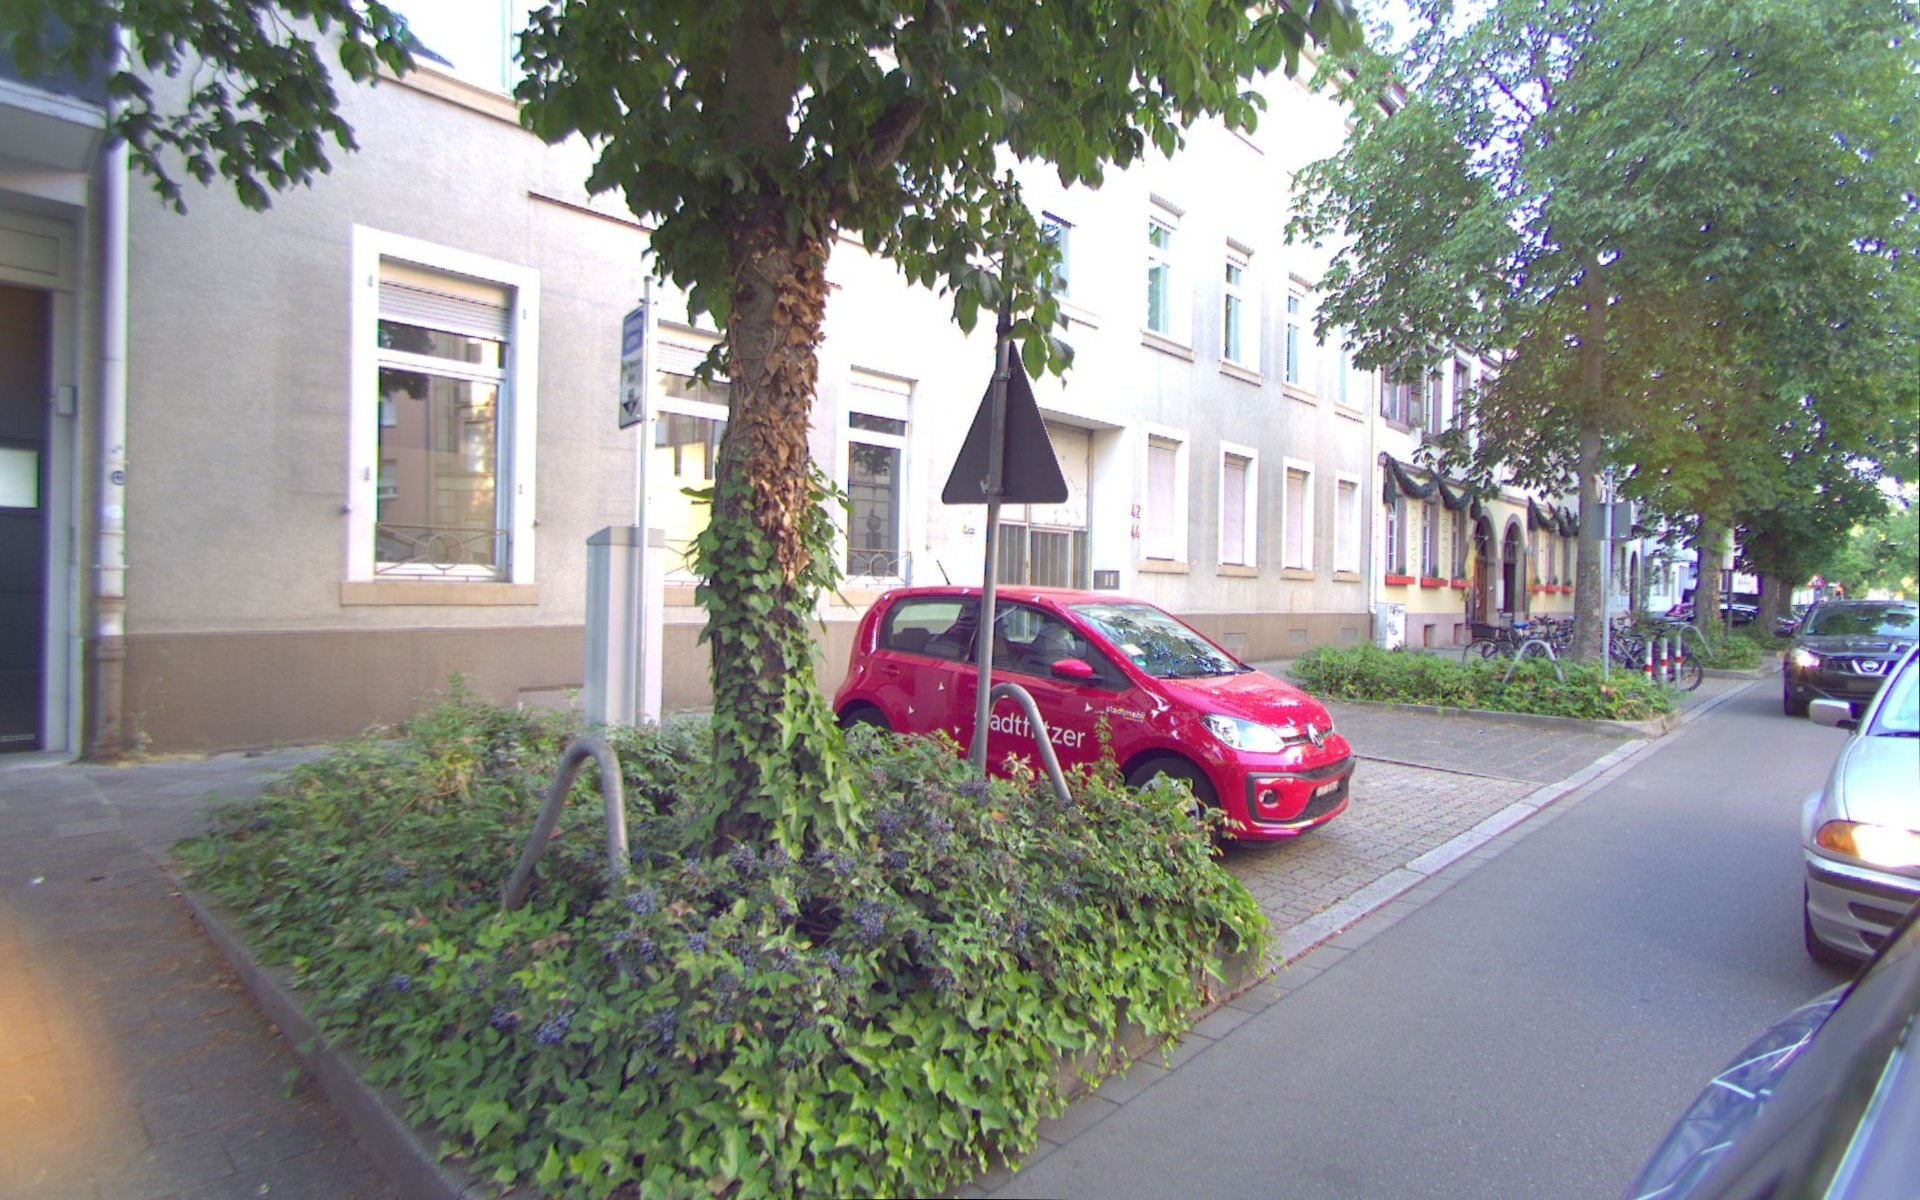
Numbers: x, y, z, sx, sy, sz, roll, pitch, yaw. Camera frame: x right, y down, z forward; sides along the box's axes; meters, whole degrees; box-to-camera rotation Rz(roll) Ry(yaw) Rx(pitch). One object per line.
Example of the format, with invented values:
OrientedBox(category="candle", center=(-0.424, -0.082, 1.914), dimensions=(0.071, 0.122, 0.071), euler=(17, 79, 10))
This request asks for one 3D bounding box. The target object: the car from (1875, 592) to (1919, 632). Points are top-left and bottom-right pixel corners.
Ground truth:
OrientedBox(category="car", center=(39.498, 0.464, 42.229), dimensions=(1.802, 1.571, 3.935), euler=(2, 1, 45))

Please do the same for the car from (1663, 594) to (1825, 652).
OrientedBox(category="car", center=(26.619, 0.726, 34.457), dimensions=(4.232, 1.761, 1.715), euler=(2, 1, 43))

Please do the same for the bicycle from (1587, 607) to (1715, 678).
OrientedBox(category="bicycle", center=(13.473, 0.802, 19.774), dimensions=(2.019, 1.242, 0.528), euler=(2, 1, 39))

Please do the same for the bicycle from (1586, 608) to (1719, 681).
OrientedBox(category="bicycle", center=(12.992, 0.812, 19.020), dimensions=(2.019, 1.242, 0.528), euler=(2, 1, 39))

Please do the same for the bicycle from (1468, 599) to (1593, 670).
OrientedBox(category="bicycle", center=(10.933, 0.630, 19.434), dimensions=(2.017, 1.242, 0.529), euler=(2, 1, 37))

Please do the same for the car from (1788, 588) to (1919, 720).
OrientedBox(category="car", center=(12.754, 0.655, 13.872), dimensions=(1.802, 1.571, 3.935), euler=(2, 1, 45))

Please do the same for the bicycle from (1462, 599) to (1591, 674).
OrientedBox(category="bicycle", center=(10.302, 0.643, 18.440), dimensions=(2.014, 1.242, 0.529), euler=(2, 1, 33))

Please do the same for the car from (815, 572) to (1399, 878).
OrientedBox(category="car", center=(0.814, 0.580, 6.831), dimensions=(3.609, 1.495, 1.639), euler=(2, 1, 42))

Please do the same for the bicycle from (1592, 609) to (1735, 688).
OrientedBox(category="bicycle", center=(12.357, 0.826, 17.827), dimensions=(2.019, 1.242, 0.528), euler=(2, 1, 39))

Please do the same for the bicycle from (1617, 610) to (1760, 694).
OrientedBox(category="bicycle", center=(11.854, 0.825, 16.541), dimensions=(1.835, 1.242, 0.529), euler=(2, 1, 33))

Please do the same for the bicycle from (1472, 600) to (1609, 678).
OrientedBox(category="bicycle", center=(10.086, 0.652, 17.630), dimensions=(2.014, 1.242, 0.529), euler=(2, 1, 33))

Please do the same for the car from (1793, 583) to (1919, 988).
OrientedBox(category="car", center=(5.434, 0.682, 4.696), dimensions=(4.358, 1.460, 1.710), euler=(0, 1, -41))
